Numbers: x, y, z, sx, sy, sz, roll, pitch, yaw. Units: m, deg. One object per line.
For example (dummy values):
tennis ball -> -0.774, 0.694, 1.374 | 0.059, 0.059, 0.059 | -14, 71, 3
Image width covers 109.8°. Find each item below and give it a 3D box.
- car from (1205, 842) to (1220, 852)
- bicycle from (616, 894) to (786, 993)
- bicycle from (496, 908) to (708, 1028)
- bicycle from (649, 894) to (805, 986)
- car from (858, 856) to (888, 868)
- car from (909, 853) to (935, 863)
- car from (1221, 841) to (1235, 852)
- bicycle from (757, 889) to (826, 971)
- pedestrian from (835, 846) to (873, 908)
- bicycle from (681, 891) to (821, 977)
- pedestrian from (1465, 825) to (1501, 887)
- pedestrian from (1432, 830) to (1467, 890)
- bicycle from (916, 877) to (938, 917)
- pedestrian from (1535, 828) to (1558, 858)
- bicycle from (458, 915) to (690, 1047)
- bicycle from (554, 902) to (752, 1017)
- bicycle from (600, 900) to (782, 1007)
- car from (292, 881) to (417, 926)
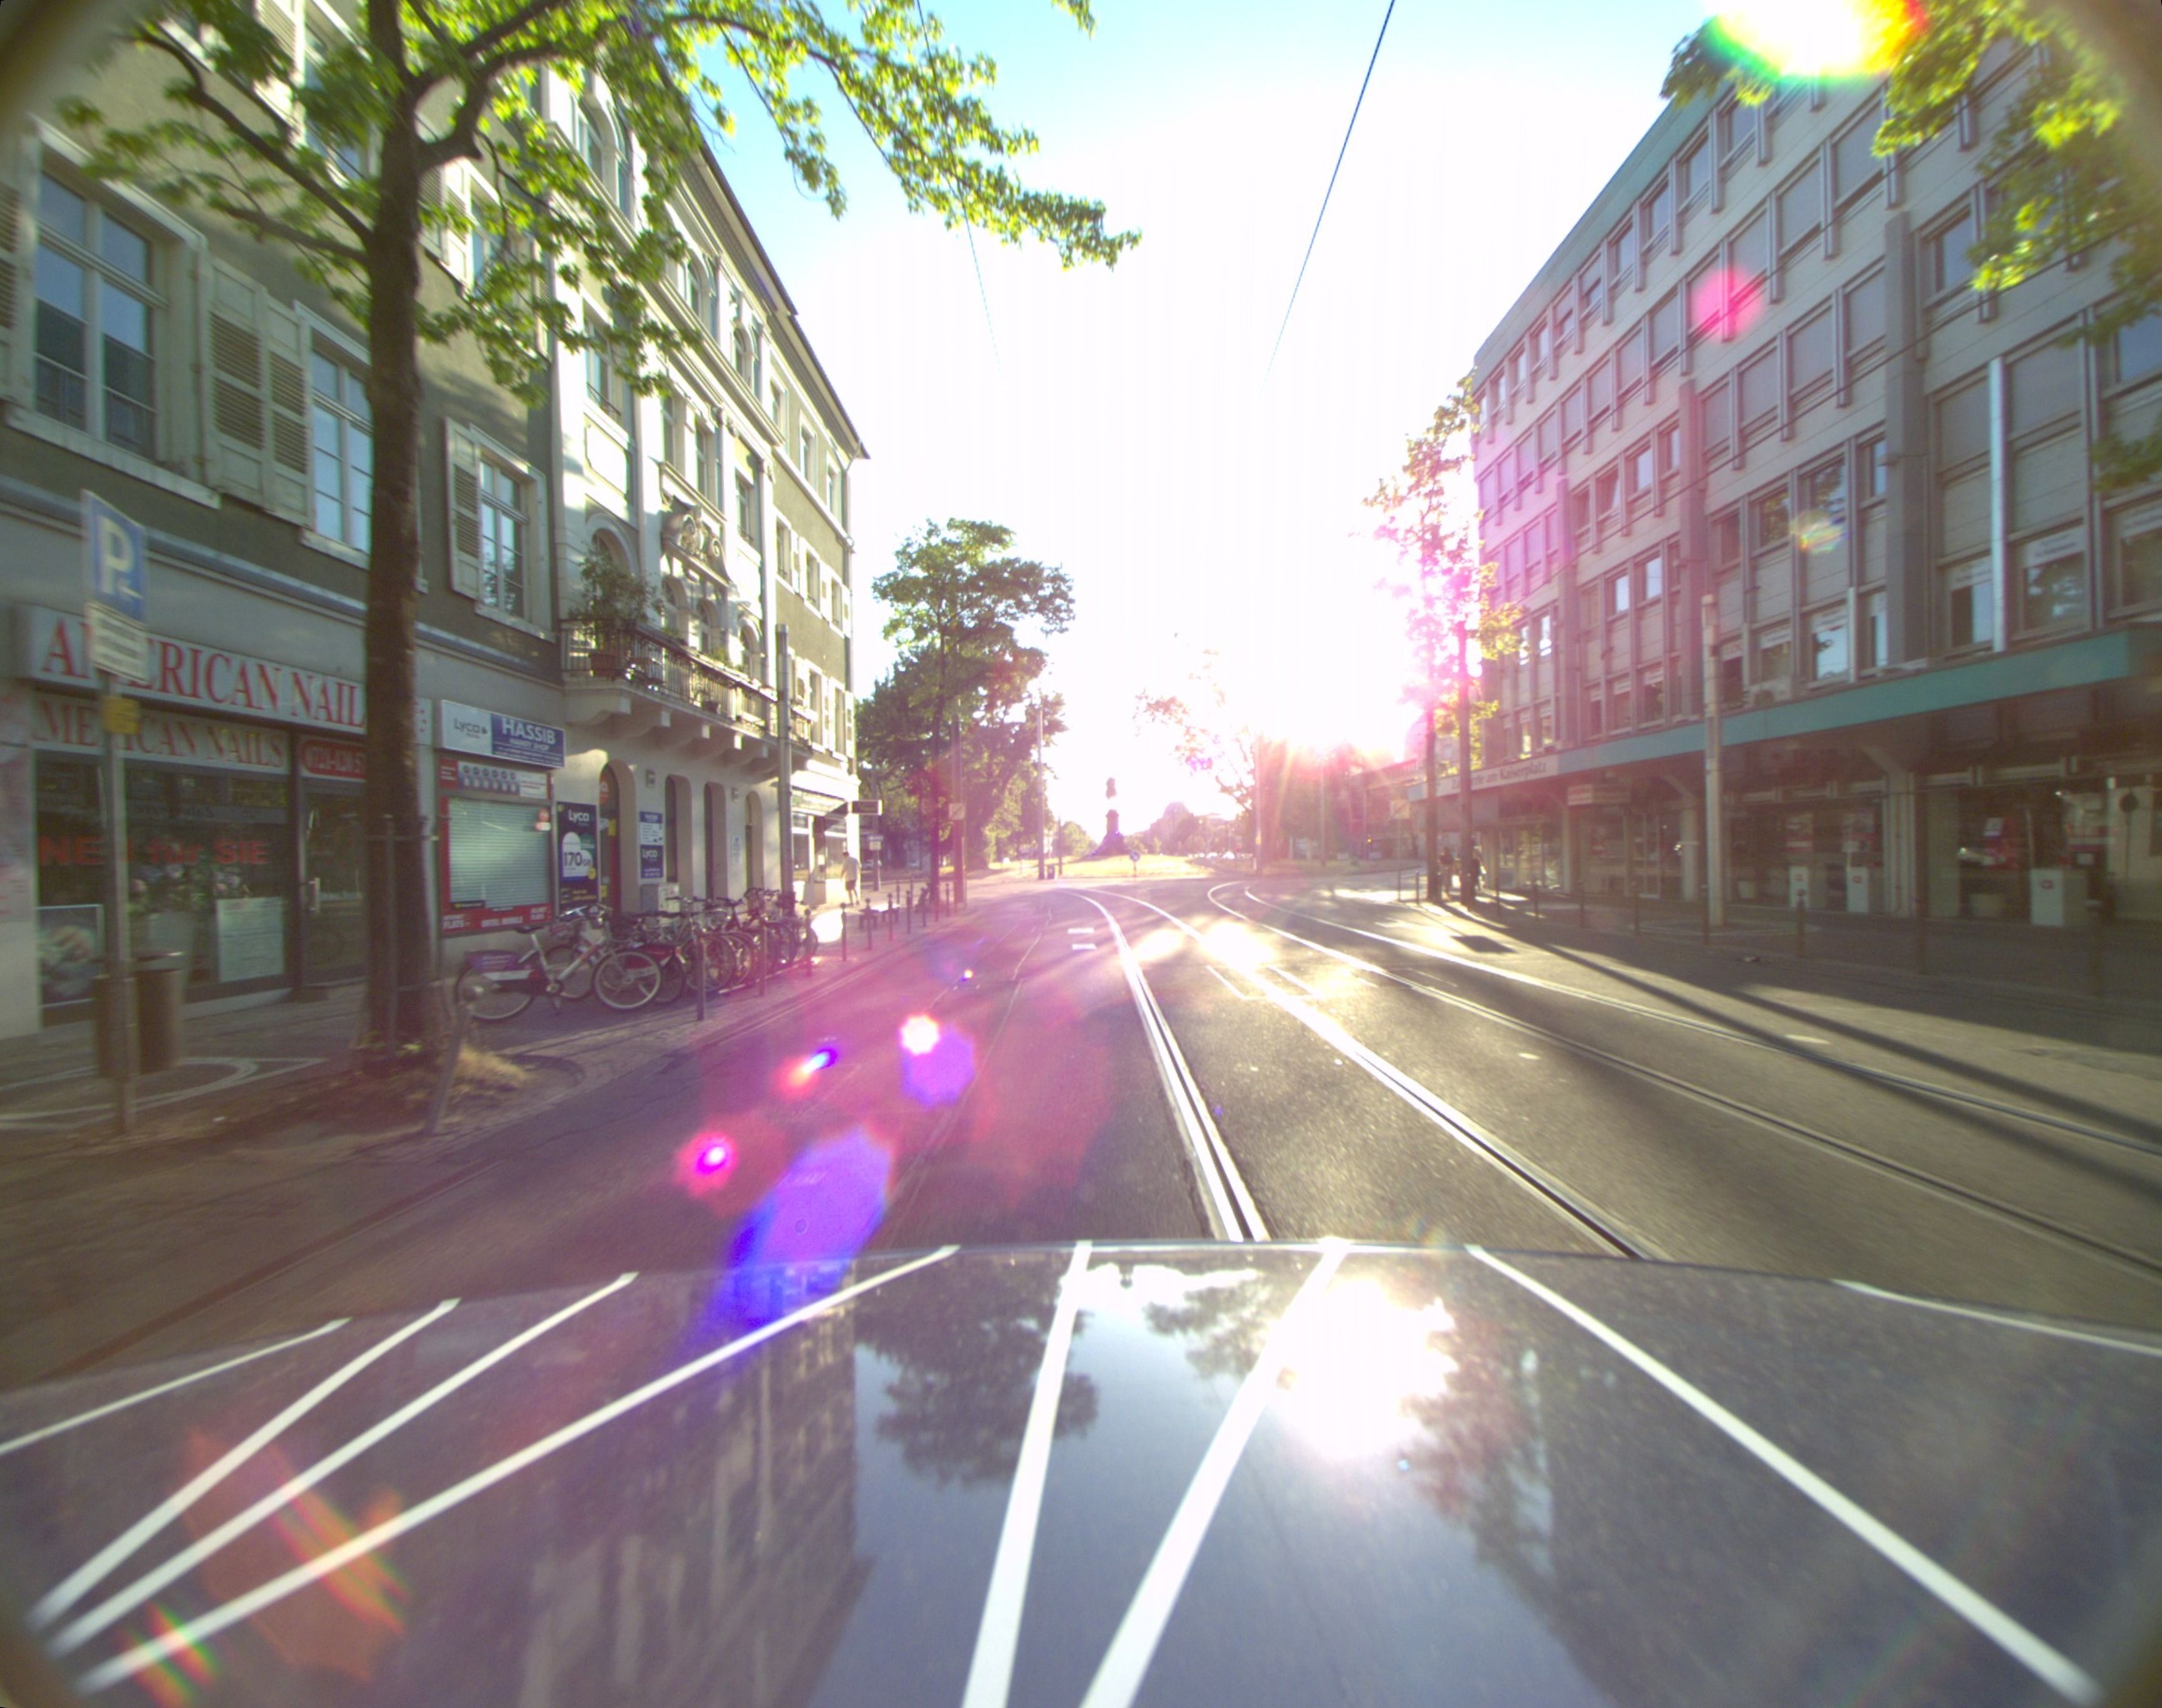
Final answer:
car -> 27.681, -1.384, 159.899 | 1.999, 2.002, 4.547 | -3, 1, -2
bicycle -> -4.902, 1.142, 9.857 | 1.870, 1.148, 0.562 | -2, 1, 2
bicycle -> -4.990, 1.172, 7.973 | 1.870, 1.148, 0.562 | 0, 1, 2
bicycle -> -4.894, 1.176, 10.562 | 1.870, 1.148, 0.562 | -2, 1, 2
car -> -33.348, 1.241, 121.796 | 1.995, 1.596, 4.530 | -2, 1, 27
car -> -27.856, 0.736, 133.037 | 1.995, 1.596, 4.530 | -2, 1, 27
car -> 28.356, -1.411, 146.436 | 1.998, 2.002, 4.000 | -2, 1, 1
bicycle -> -4.629, 1.167, 12.087 | 0.462, 1.148, 1.677 | -3, 1, -39
pedestrian -> -7.618, 0.771, 25.496 | 0.848, 2.002, 0.841 | -4, 2, -43
bicycle -> -4.819, 1.166, 11.132 | 1.870, 1.148, 0.347 | -2, 1, 2
pedestrian -> 13.514, 0.058, 25.563 | 0.798, 2.002, 0.734 | -2, 2, 2
pedestrian -> 12.596, 0.195, 25.992 | 0.798, 2.002, 0.734 | -2, 2, 2
bicycle -> -4.634, 1.289, 22.951 | 0.355, 1.070, 1.698 | -2, 1, -3
pedestrian -> 27.068, -0.650, 44.199 | 0.905, 1.693, 1.164 | -1, 1, 18
bicycle -> -4.836, 1.196, 7.303 | 1.870, 1.148, 0.562 | 0, 1, 2
bicycle -> -4.790, 1.174, 8.562 | 1.870, 1.148, 0.562 | -2, 1, 2
bicycle -> -4.696, 1.189, 9.210 | 1.870, 1.148, 0.562 | -2, 1, 2
car -> -37.218, 2.510, 39.014 | 4.432, 2.002, 2.000 | -2, 1, 1
